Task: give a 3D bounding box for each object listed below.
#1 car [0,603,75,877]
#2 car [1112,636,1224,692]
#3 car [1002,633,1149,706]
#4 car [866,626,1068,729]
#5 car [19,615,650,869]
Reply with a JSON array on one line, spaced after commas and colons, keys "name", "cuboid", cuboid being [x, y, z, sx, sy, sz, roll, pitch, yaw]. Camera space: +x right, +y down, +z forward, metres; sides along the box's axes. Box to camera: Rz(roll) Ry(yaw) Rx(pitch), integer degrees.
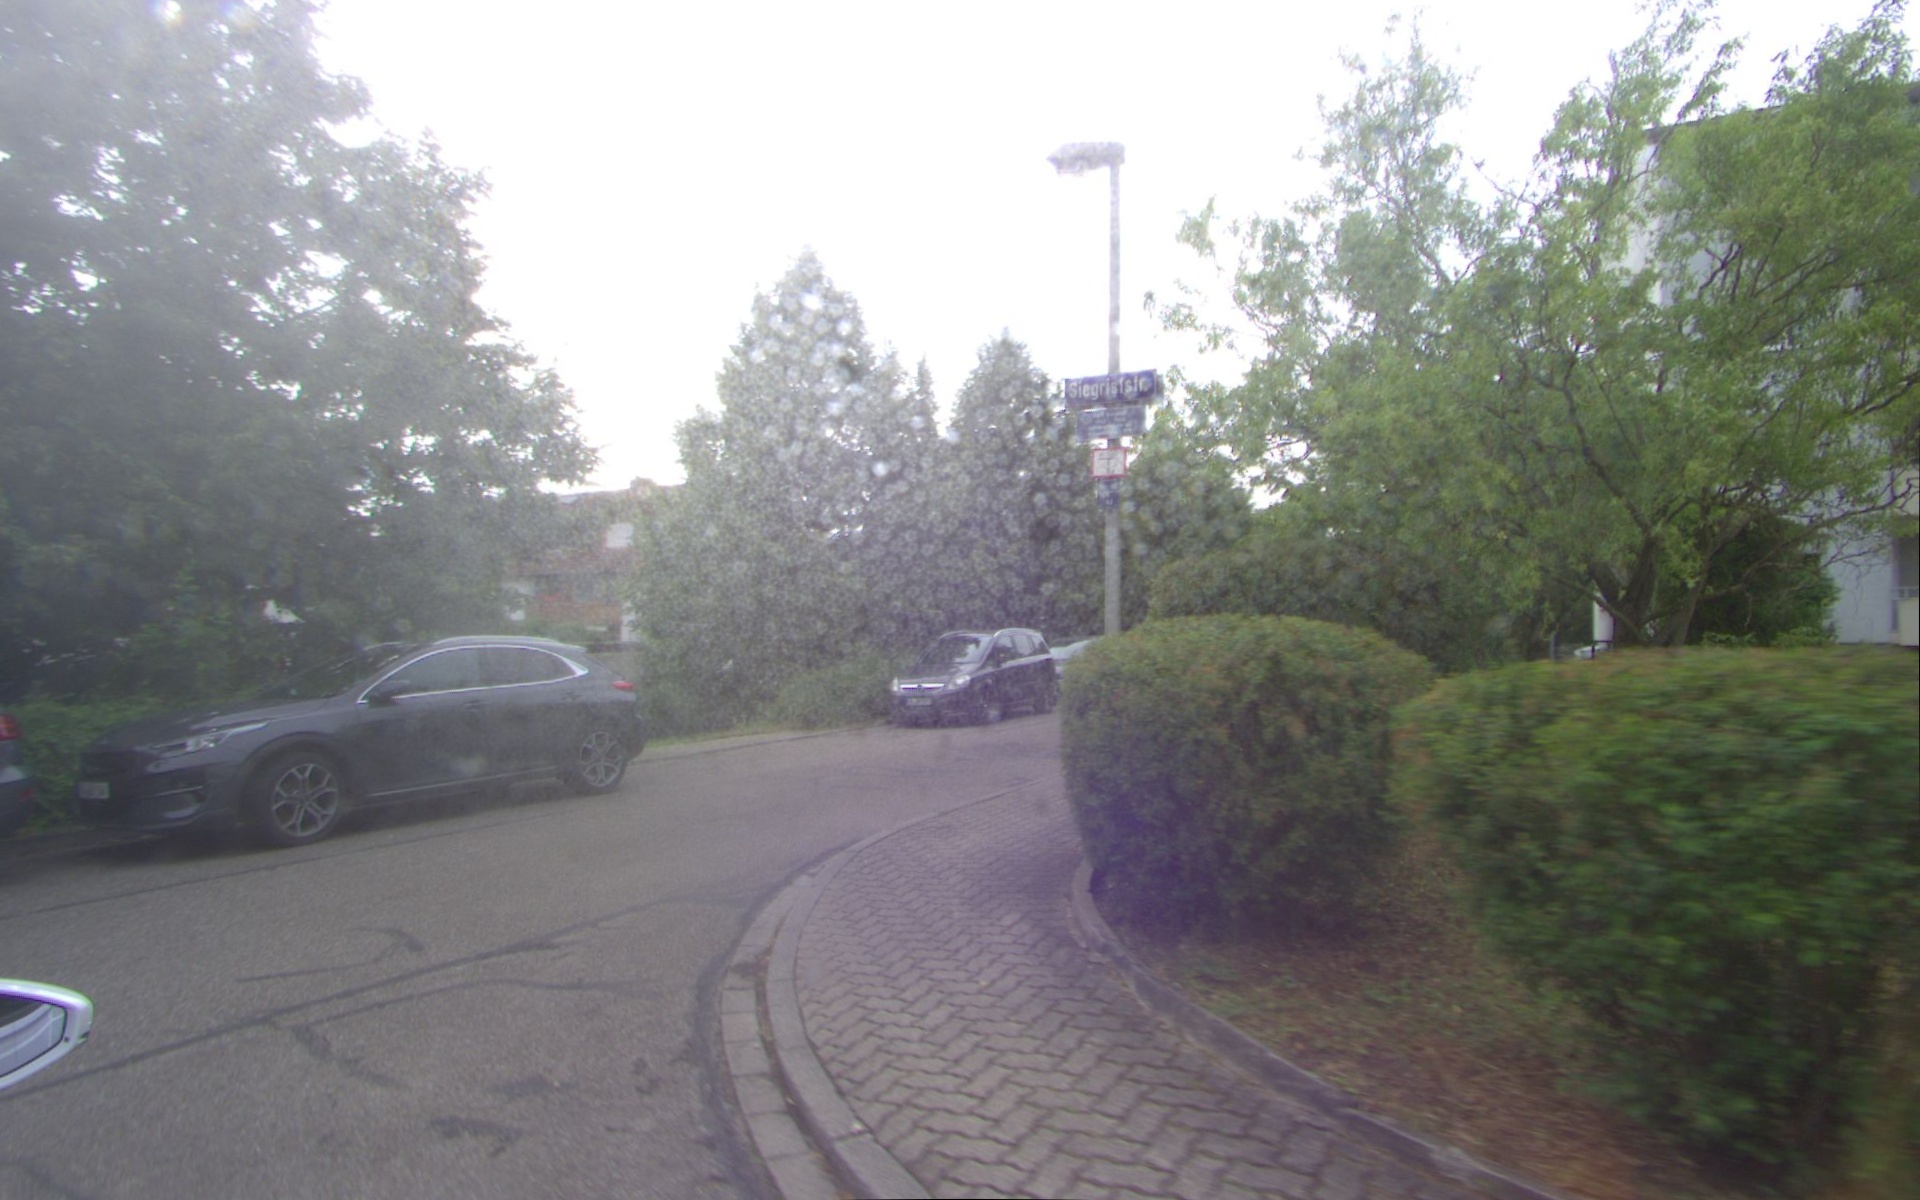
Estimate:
[{"name": "car", "cuboid": [-6.958, 0.769, 4.439, 1.719, 1.550, 4.239, -3, -3, 25]}, {"name": "car", "cuboid": [5.963, 1.761, 28.309, 1.756, 1.446, 4.458, -3, -3, 30]}, {"name": "car", "cuboid": [2.765, 1.552, 23.009, 1.738, 1.497, 4.286, -3, -3, 30]}, {"name": "car", "cuboid": [0.287, 1.331, 18.155, 1.736, 1.613, 4.536, -3, -3, 28]}, {"name": "car", "cuboid": [-4.812, 0.974, 8.385, 1.722, 1.550, 4.177, -3, -3, 30]}]
